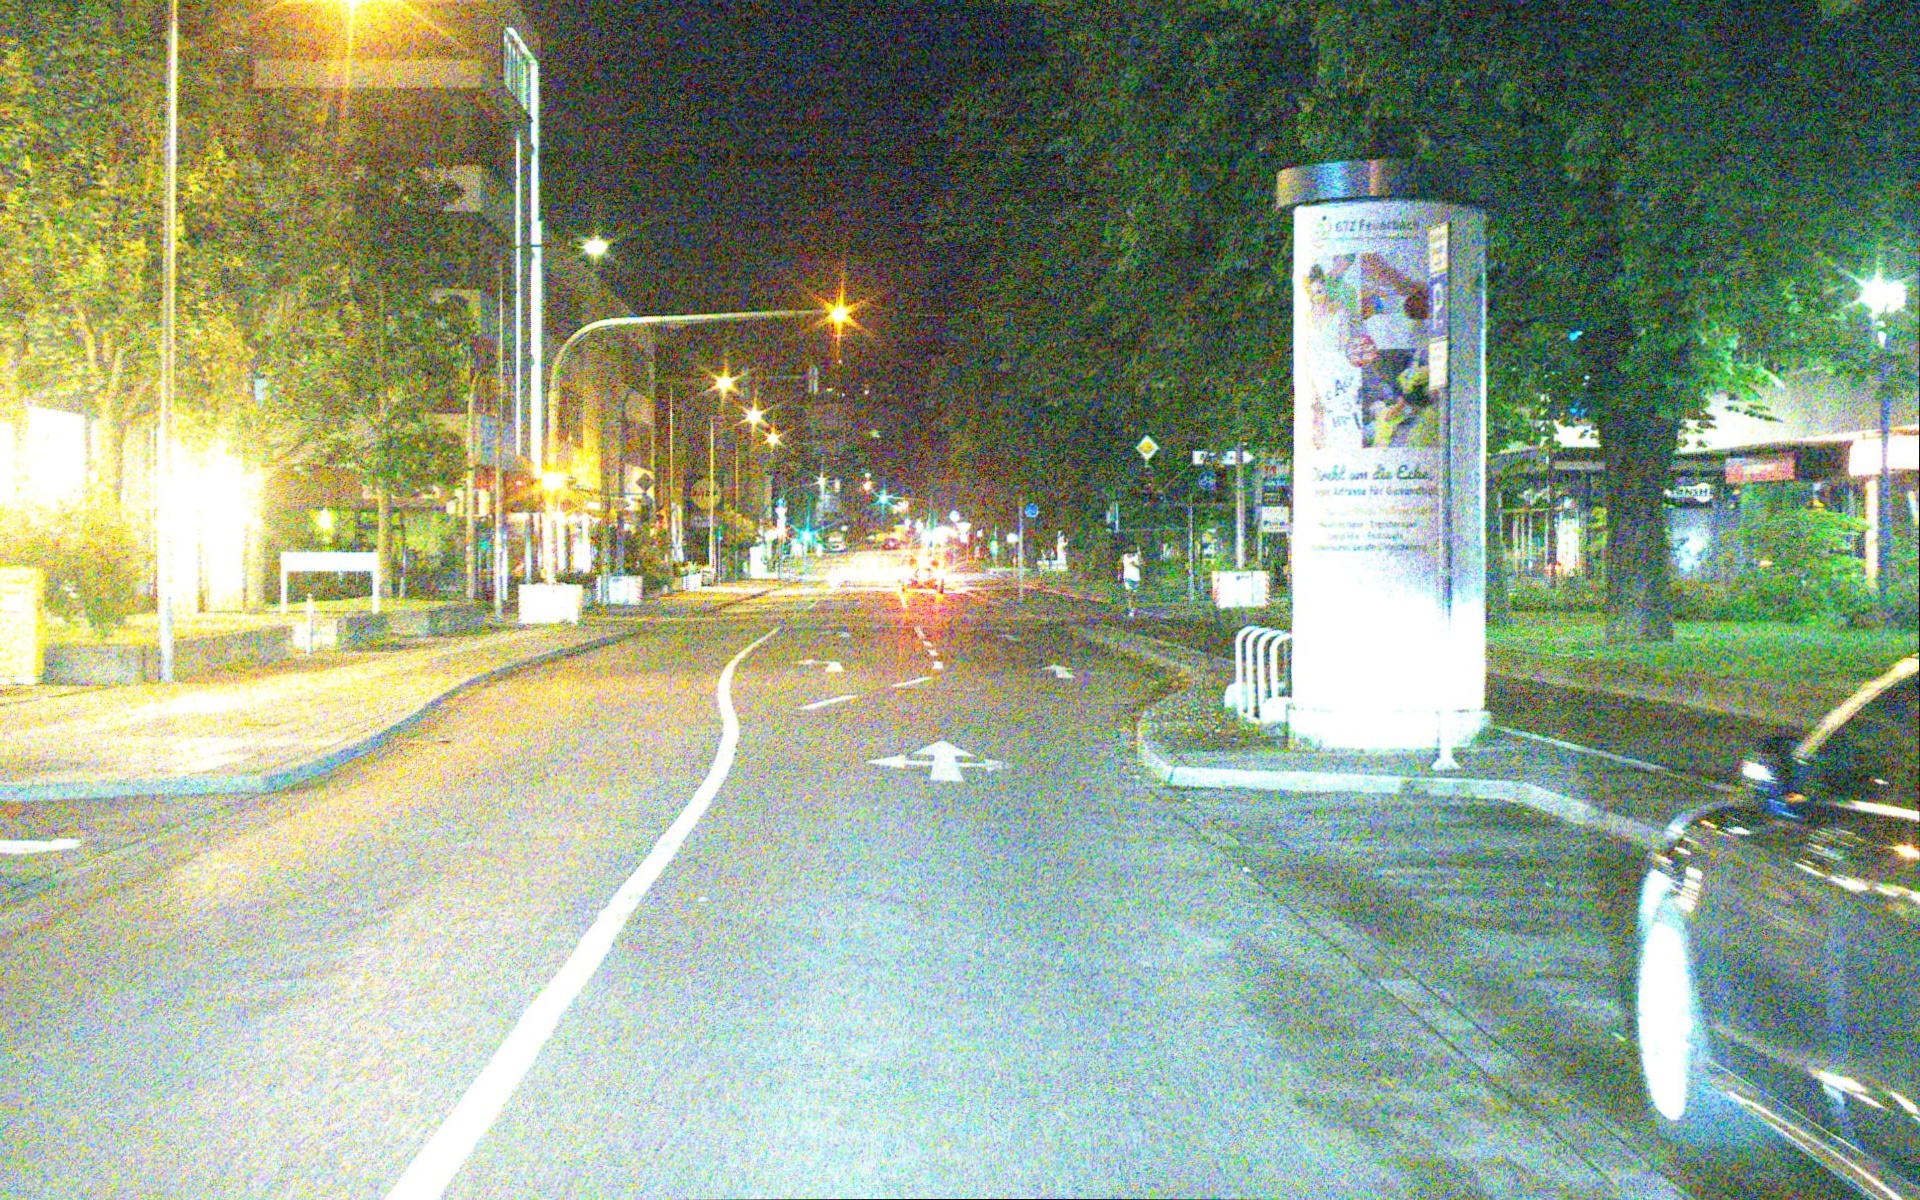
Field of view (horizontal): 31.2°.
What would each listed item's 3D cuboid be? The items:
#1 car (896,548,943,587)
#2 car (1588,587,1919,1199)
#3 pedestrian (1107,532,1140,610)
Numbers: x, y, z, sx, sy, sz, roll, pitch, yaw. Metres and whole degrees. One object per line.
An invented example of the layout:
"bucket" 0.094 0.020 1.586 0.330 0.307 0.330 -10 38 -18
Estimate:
"car" -1.795 -1.429 150.724 1.993 1.637 4.000 -1 1 -1
"car" 2.653 0.708 7.132 1.764 1.409 4.808 -1 1 -1
"pedestrian" 3.845 -0.685 80.774 0.703 1.812 1.082 -1 1 -1
